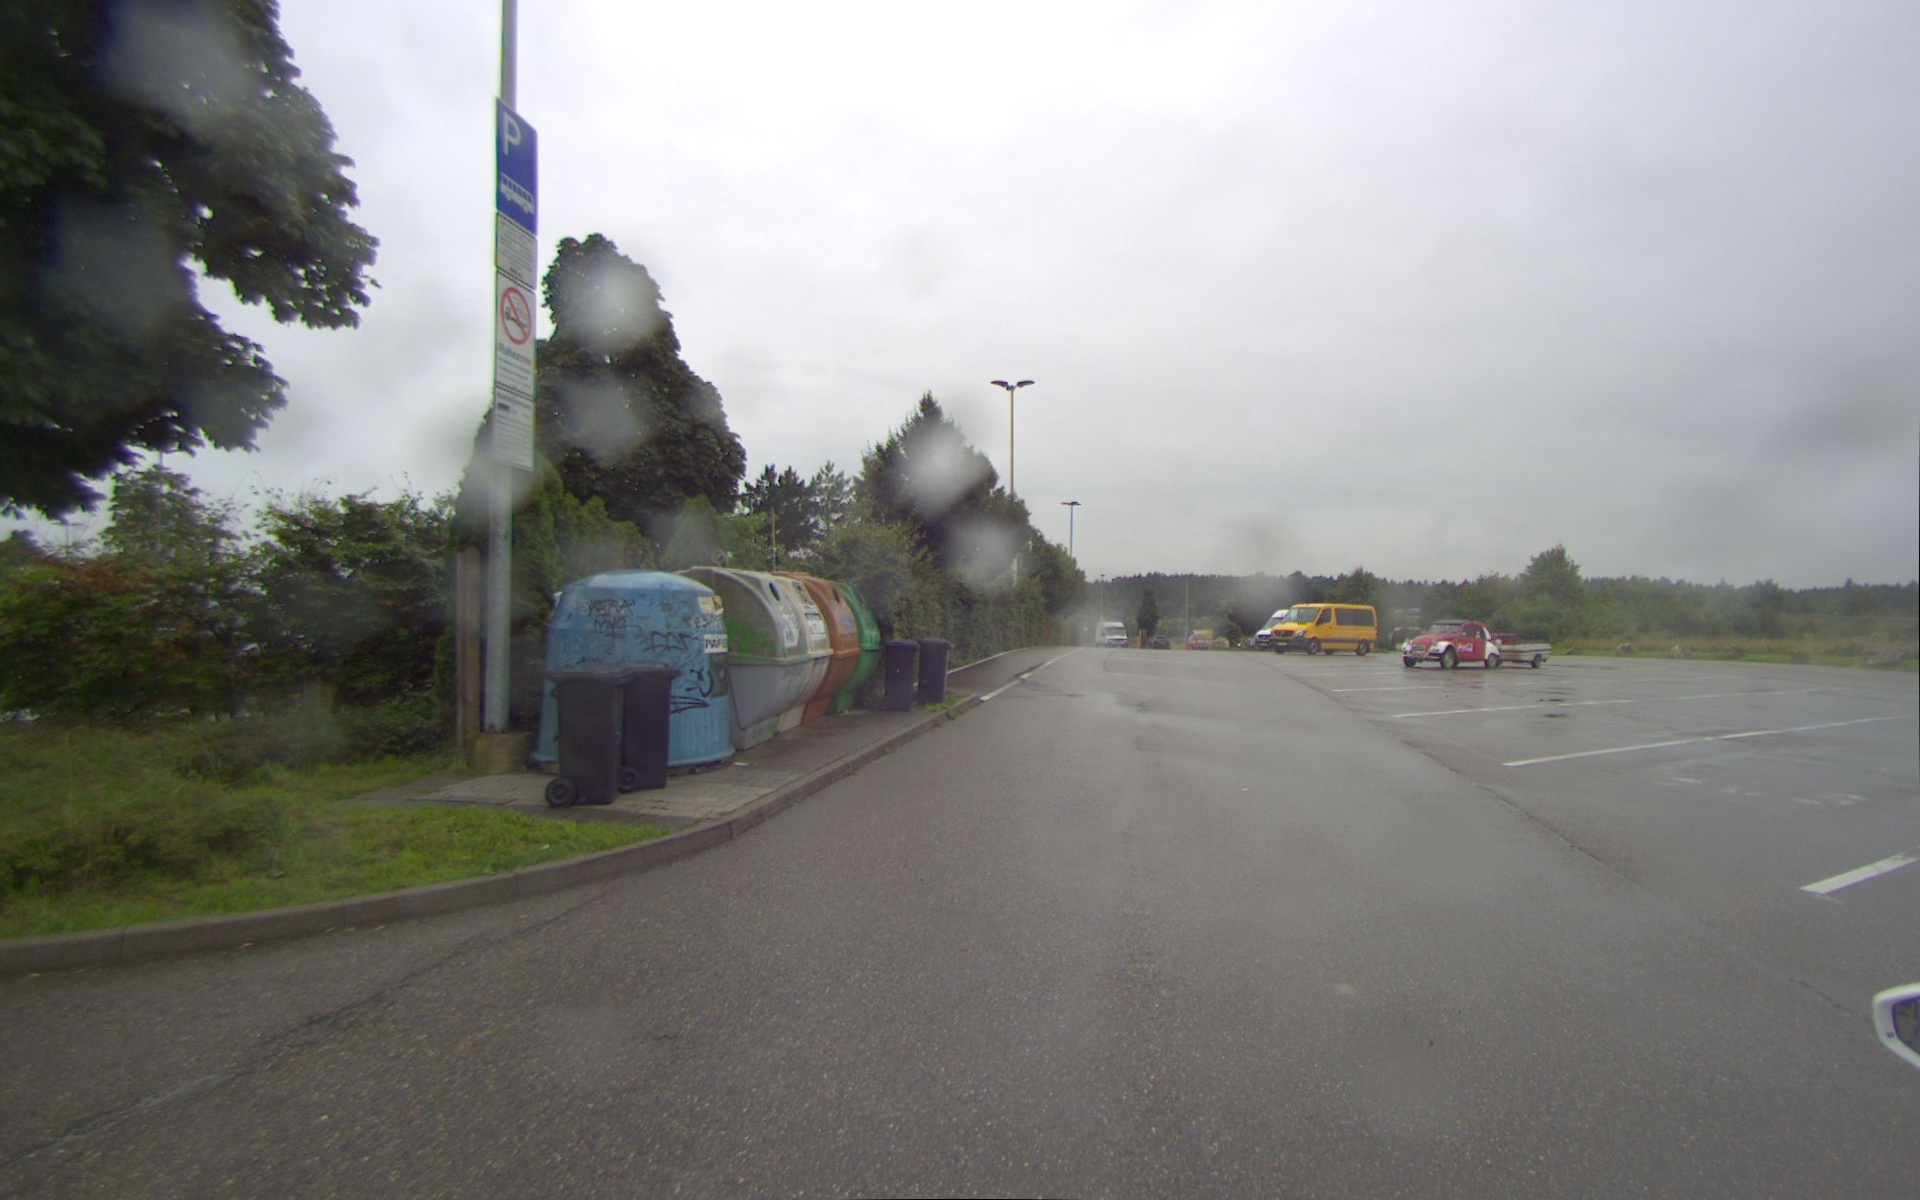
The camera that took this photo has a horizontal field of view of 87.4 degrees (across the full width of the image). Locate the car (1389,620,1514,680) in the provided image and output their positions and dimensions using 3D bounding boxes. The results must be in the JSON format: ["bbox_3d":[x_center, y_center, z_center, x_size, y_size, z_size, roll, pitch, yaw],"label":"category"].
[{"bbox_3d":[15.673,1.582,31.993,3.956,1.800,1.812,2,-2,-32],"label":"car"}]

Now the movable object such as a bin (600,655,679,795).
[{"bbox_3d":[-2.365,0.903,7.407,0.446,0.961,0.401,1,1,-36],"label":"movable object such as a bin"}]

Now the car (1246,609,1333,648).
[{"bbox_3d":[19.939,1.704,60.808,4.699,2.231,1.992,2,0,-19],"label":"car"}]

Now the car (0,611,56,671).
[{"bbox_3d":[-31.817,1.328,32.350,4.280,1.886,1.722,-1,-2,10],"label":"car"}]

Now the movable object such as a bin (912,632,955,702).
[{"bbox_3d":[-0.364,0.923,13.957,0.498,0.928,0.439,0,0,12],"label":"movable object such as a bin"}]

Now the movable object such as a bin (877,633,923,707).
[{"bbox_3d":[-0.790,0.918,13.278,0.498,0.935,0.439,0,0,15],"label":"movable object such as a bin"}]

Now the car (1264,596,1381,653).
[{"bbox_3d":[16.507,1.183,45.572,5.968,2.411,1.980,2,-3,-36],"label":"car"}]

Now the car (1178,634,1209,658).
[{"bbox_3d":[20.663,4.055,89.027,1.654,2.040,4.000,0,-2,-2],"label":"car"}]

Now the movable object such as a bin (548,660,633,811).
[{"bbox_3d":[-2.501,0.903,6.830,0.465,0.961,0.434,1,0,-12],"label":"movable object such as a bin"}]

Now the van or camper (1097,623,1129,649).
[{"bbox_3d":[13.475,3.169,88.642,1.961,2.195,3.999,1,-2,-2],"label":"van or camper"}]

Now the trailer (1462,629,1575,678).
[{"bbox_3d":[18.998,1.787,34.133,3.956,1.553,1.685,1,-2,-33],"label":"trailer"}]
